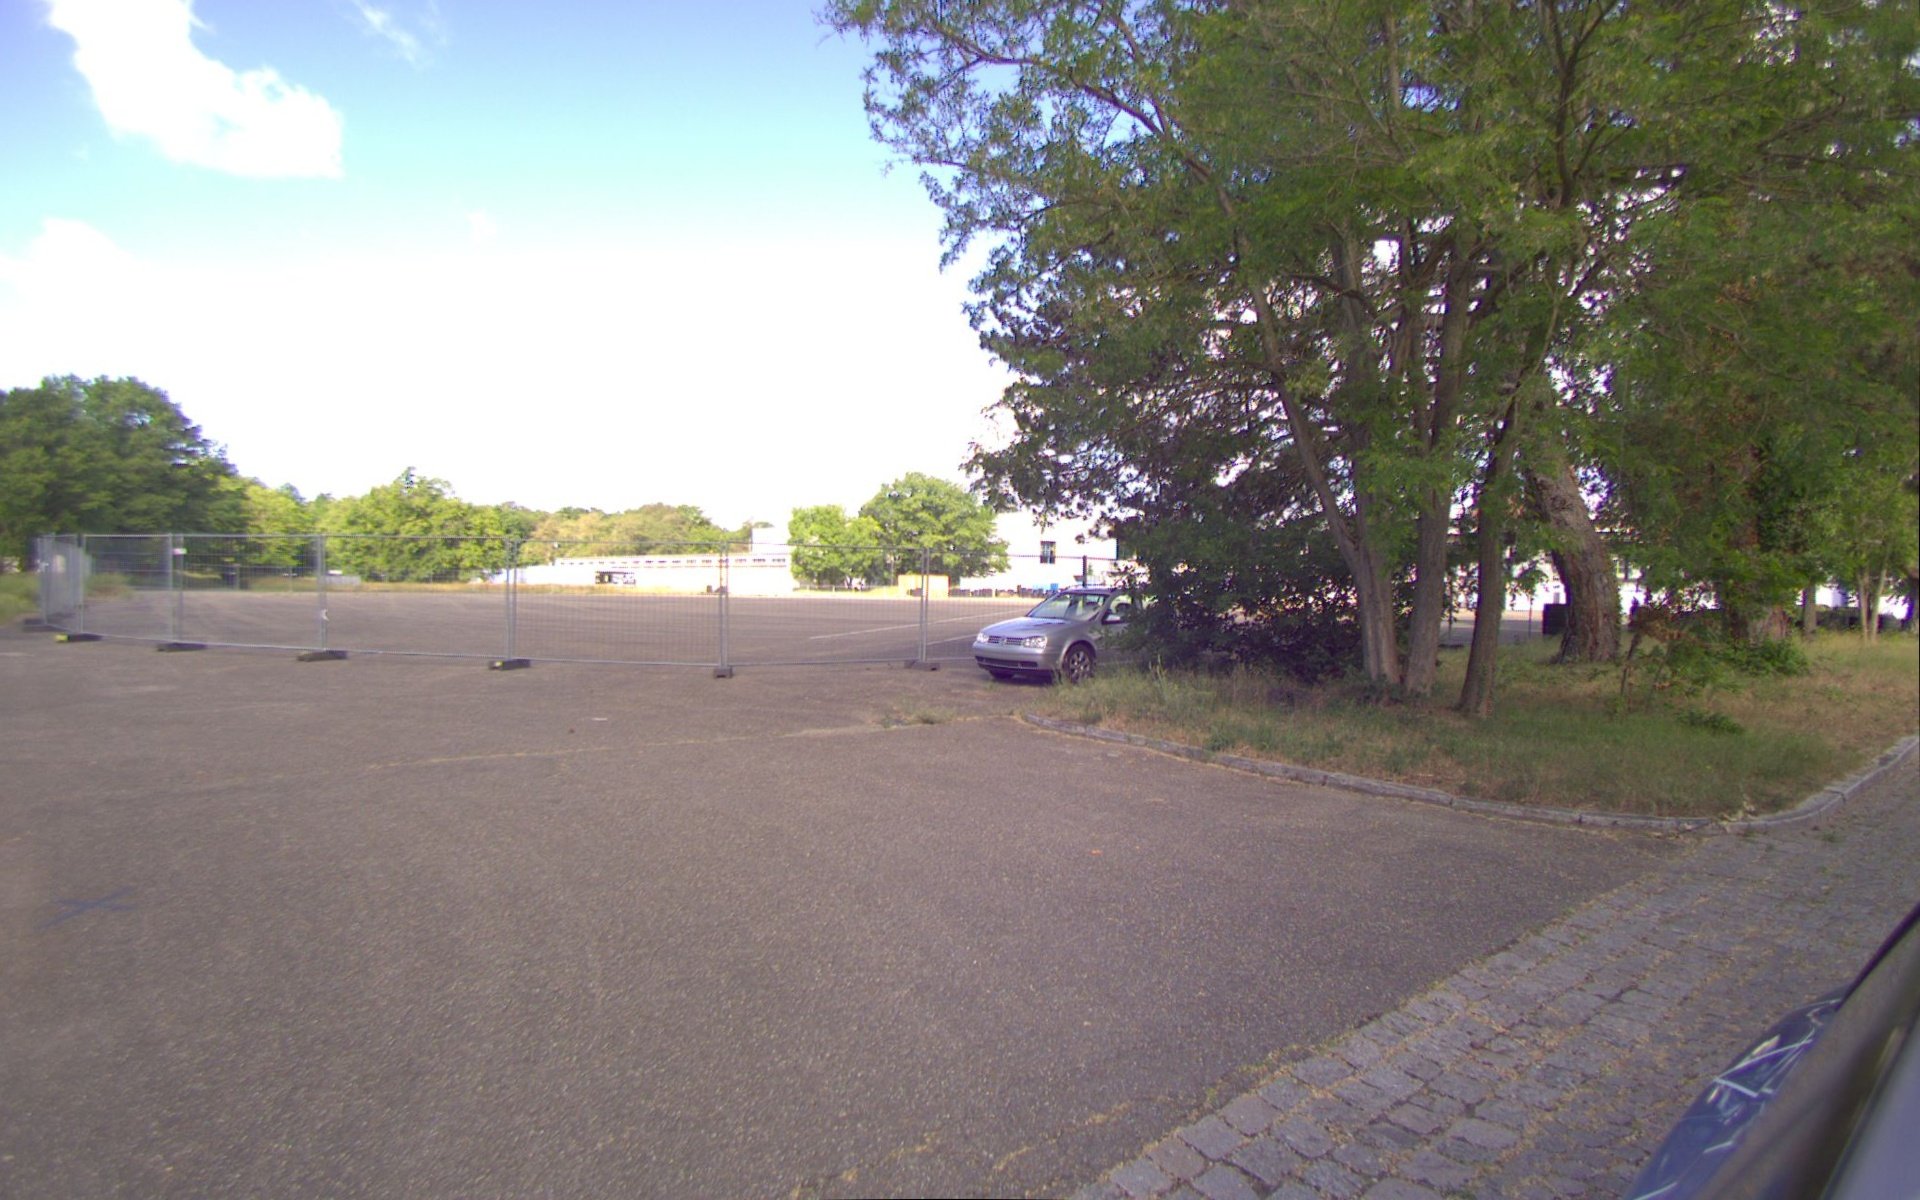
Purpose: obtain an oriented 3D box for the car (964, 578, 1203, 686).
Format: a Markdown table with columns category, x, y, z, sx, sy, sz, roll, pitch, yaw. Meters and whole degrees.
| category | x | y | z | sx | sy | sz | roll | pitch | yaw |
| --- | --- | --- | --- | --- | --- | --- | --- | --- | --- |
| car | 2.022 | 0.425 | 15.820 | 3.920 | 1.462 | 1.576 | 0 | 1 | -44 |
